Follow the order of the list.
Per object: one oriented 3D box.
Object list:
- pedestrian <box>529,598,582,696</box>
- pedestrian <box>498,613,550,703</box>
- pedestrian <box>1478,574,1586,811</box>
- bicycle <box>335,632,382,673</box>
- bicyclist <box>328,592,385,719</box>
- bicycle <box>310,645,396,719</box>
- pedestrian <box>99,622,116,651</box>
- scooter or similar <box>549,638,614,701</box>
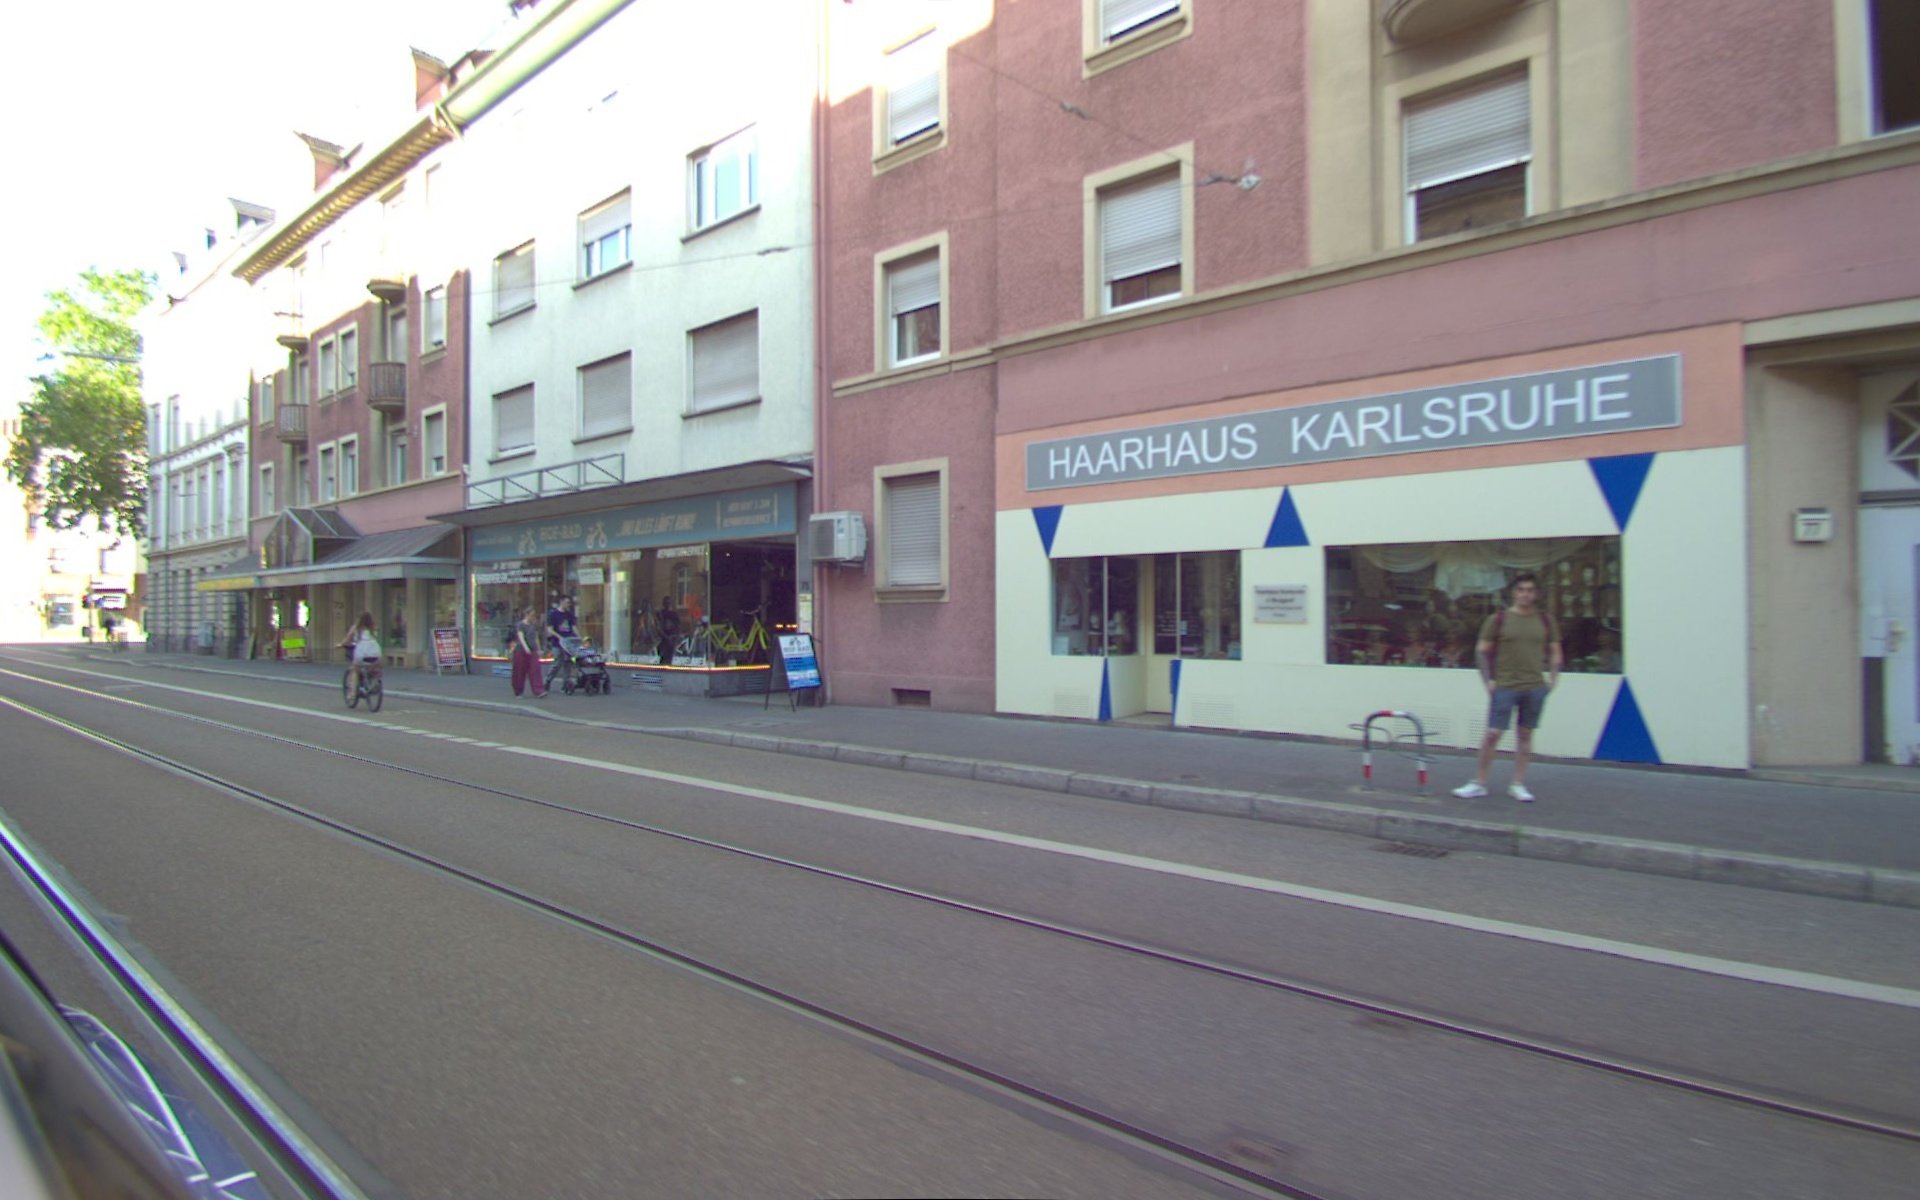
[{"bbox_3d":[-7.635,0.861,19.090,0.820,1.803,0.619,-1,-1,41],"label":"pedestrian"},{"bbox_3d":[-7.726,1.007,17.935,0.623,1.560,0.629,-1,-1,40],"label":"pedestrian"},{"bbox_3d":[4.336,0.664,7.671,0.616,1.698,0.557,-1,-1,40],"label":"pedestrian"},{"bbox_3d":[-16.743,1.454,28.148,2.328,1.068,0.420,-1,0,41],"label":"bicycle"},{"bbox_3d":[-9.905,0.887,16.610,0.733,2.029,0.605,-1,-1,41],"label":"bicyclist"},{"bbox_3d":[-10.045,1.324,16.722,2.043,1.104,0.595,-1,-3,42],"label":"bicycle"},{"bbox_3d":[-56.154,2.378,66.637,0.809,1.861,0.784,-1,-1,44],"label":"pedestrian"},{"bbox_3d":[-6.896,1.246,18.435,1.104,1.069,0.655,-2,-1,41],"label":"scooter or similar"}]
